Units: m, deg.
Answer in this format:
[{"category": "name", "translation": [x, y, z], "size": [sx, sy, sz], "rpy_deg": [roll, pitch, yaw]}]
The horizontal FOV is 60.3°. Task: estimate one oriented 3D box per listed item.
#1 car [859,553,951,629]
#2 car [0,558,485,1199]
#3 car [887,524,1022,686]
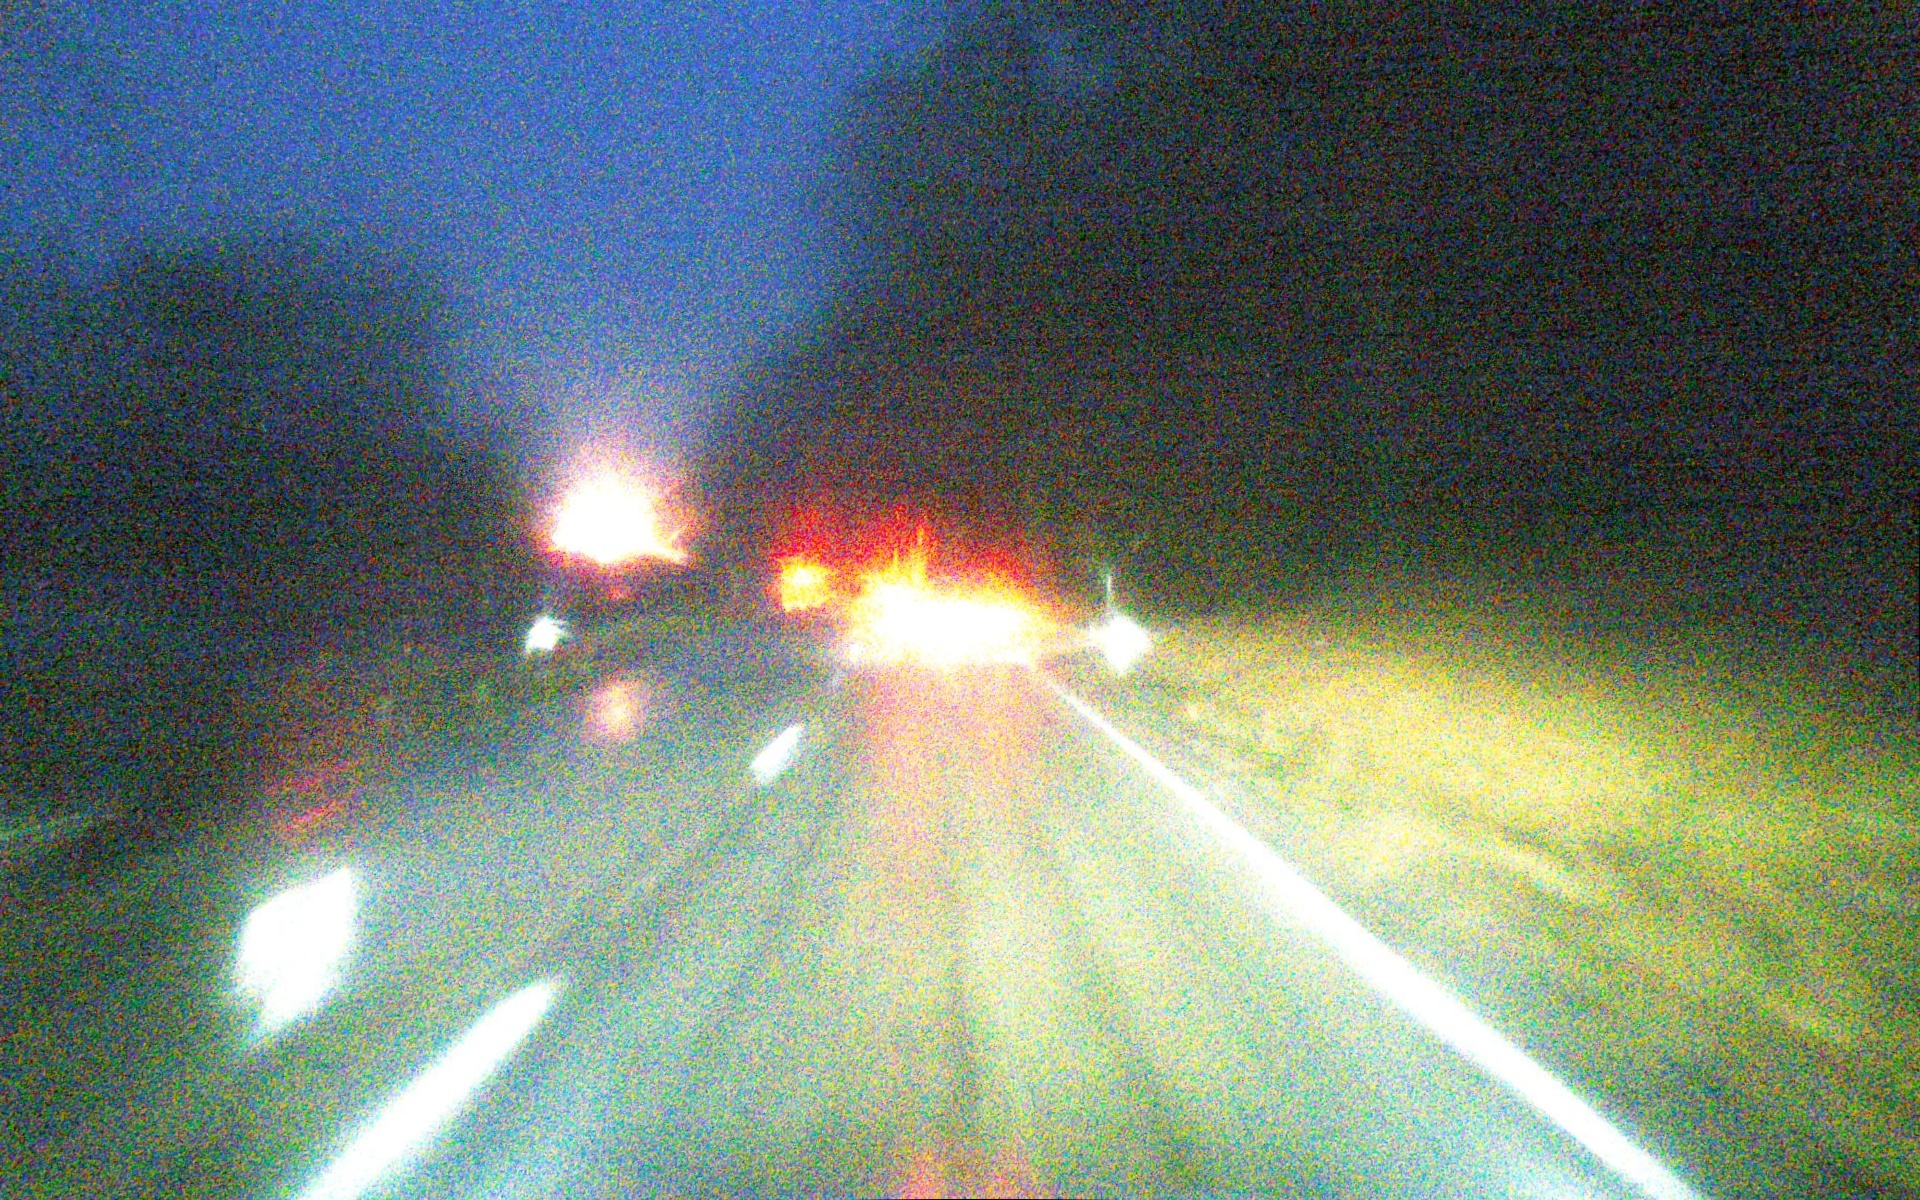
[{"category": "car", "translation": [-2.069, -0.442, 65.017], "size": [3.313, 2.601, 7.336], "rpy_deg": [2, 2, -1]}, {"category": "car", "translation": [-2.821, 0.690, 4.148], "size": [1.880, 1.497, 4.574], "rpy_deg": [-1, -1, 1]}, {"category": "car", "translation": [-0.119, -0.001, 29.569], "size": [2.137, 2.601, 4.508], "rpy_deg": [2, 2, -1]}]
